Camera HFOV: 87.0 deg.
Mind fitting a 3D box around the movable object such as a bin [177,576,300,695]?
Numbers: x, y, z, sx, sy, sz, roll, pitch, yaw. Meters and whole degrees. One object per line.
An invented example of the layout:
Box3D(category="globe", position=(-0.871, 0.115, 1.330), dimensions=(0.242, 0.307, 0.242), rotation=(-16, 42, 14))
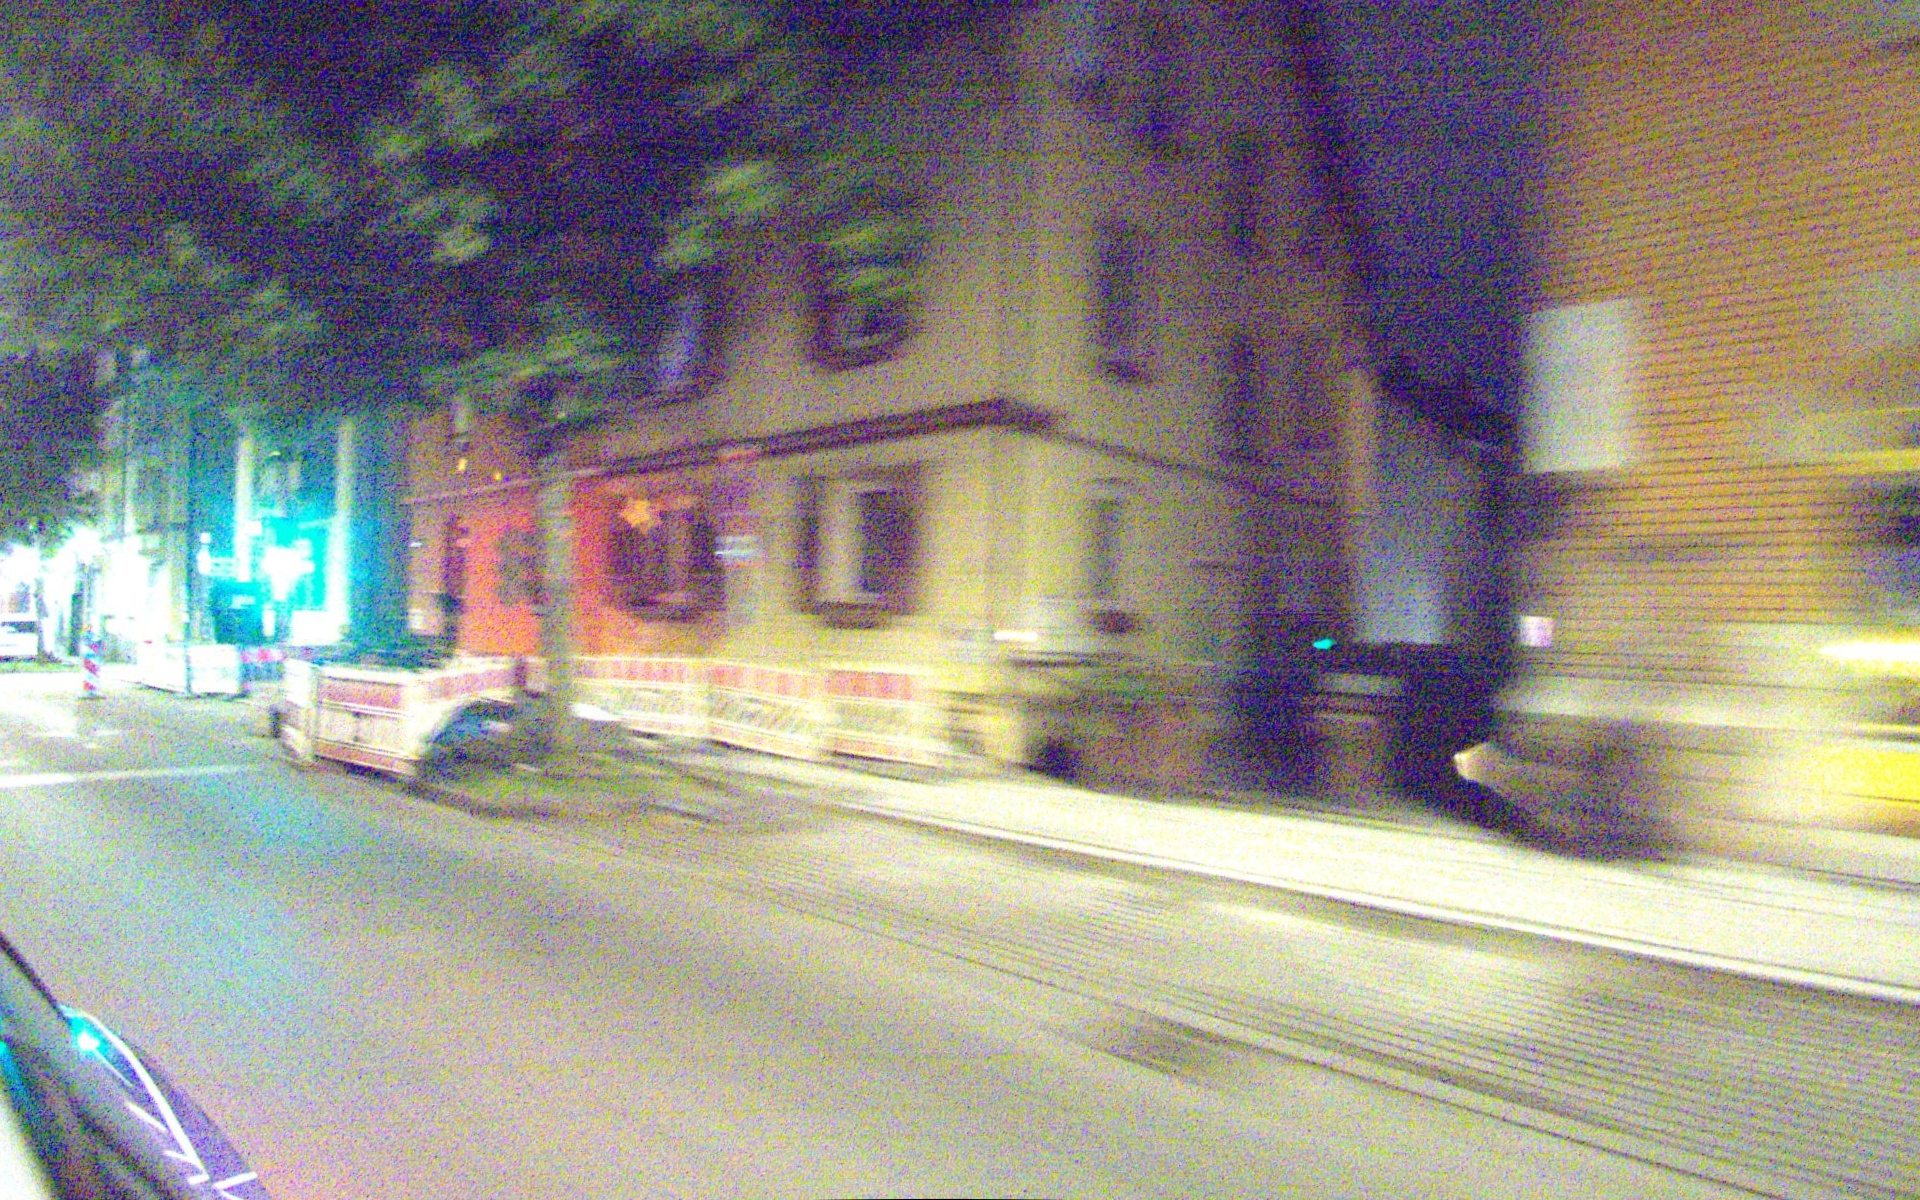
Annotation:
Box3D(category="movable object such as a bin", position=(-17.546, 0.856, 24.559), dimensions=(3.909, 2.647, 1.554), rotation=(-1, -3, 42))

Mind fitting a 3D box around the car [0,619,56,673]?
Box3D(category="car", position=(-34.541, 1.620, 36.796), dimensions=(4.811, 1.857, 1.863), rotation=(-1, -2, 41))

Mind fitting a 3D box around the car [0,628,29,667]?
Box3D(category="car", position=(-38.558, 1.864, 40.238), dimensions=(4.880, 1.461, 1.819), rotation=(-1, -1, 42))
